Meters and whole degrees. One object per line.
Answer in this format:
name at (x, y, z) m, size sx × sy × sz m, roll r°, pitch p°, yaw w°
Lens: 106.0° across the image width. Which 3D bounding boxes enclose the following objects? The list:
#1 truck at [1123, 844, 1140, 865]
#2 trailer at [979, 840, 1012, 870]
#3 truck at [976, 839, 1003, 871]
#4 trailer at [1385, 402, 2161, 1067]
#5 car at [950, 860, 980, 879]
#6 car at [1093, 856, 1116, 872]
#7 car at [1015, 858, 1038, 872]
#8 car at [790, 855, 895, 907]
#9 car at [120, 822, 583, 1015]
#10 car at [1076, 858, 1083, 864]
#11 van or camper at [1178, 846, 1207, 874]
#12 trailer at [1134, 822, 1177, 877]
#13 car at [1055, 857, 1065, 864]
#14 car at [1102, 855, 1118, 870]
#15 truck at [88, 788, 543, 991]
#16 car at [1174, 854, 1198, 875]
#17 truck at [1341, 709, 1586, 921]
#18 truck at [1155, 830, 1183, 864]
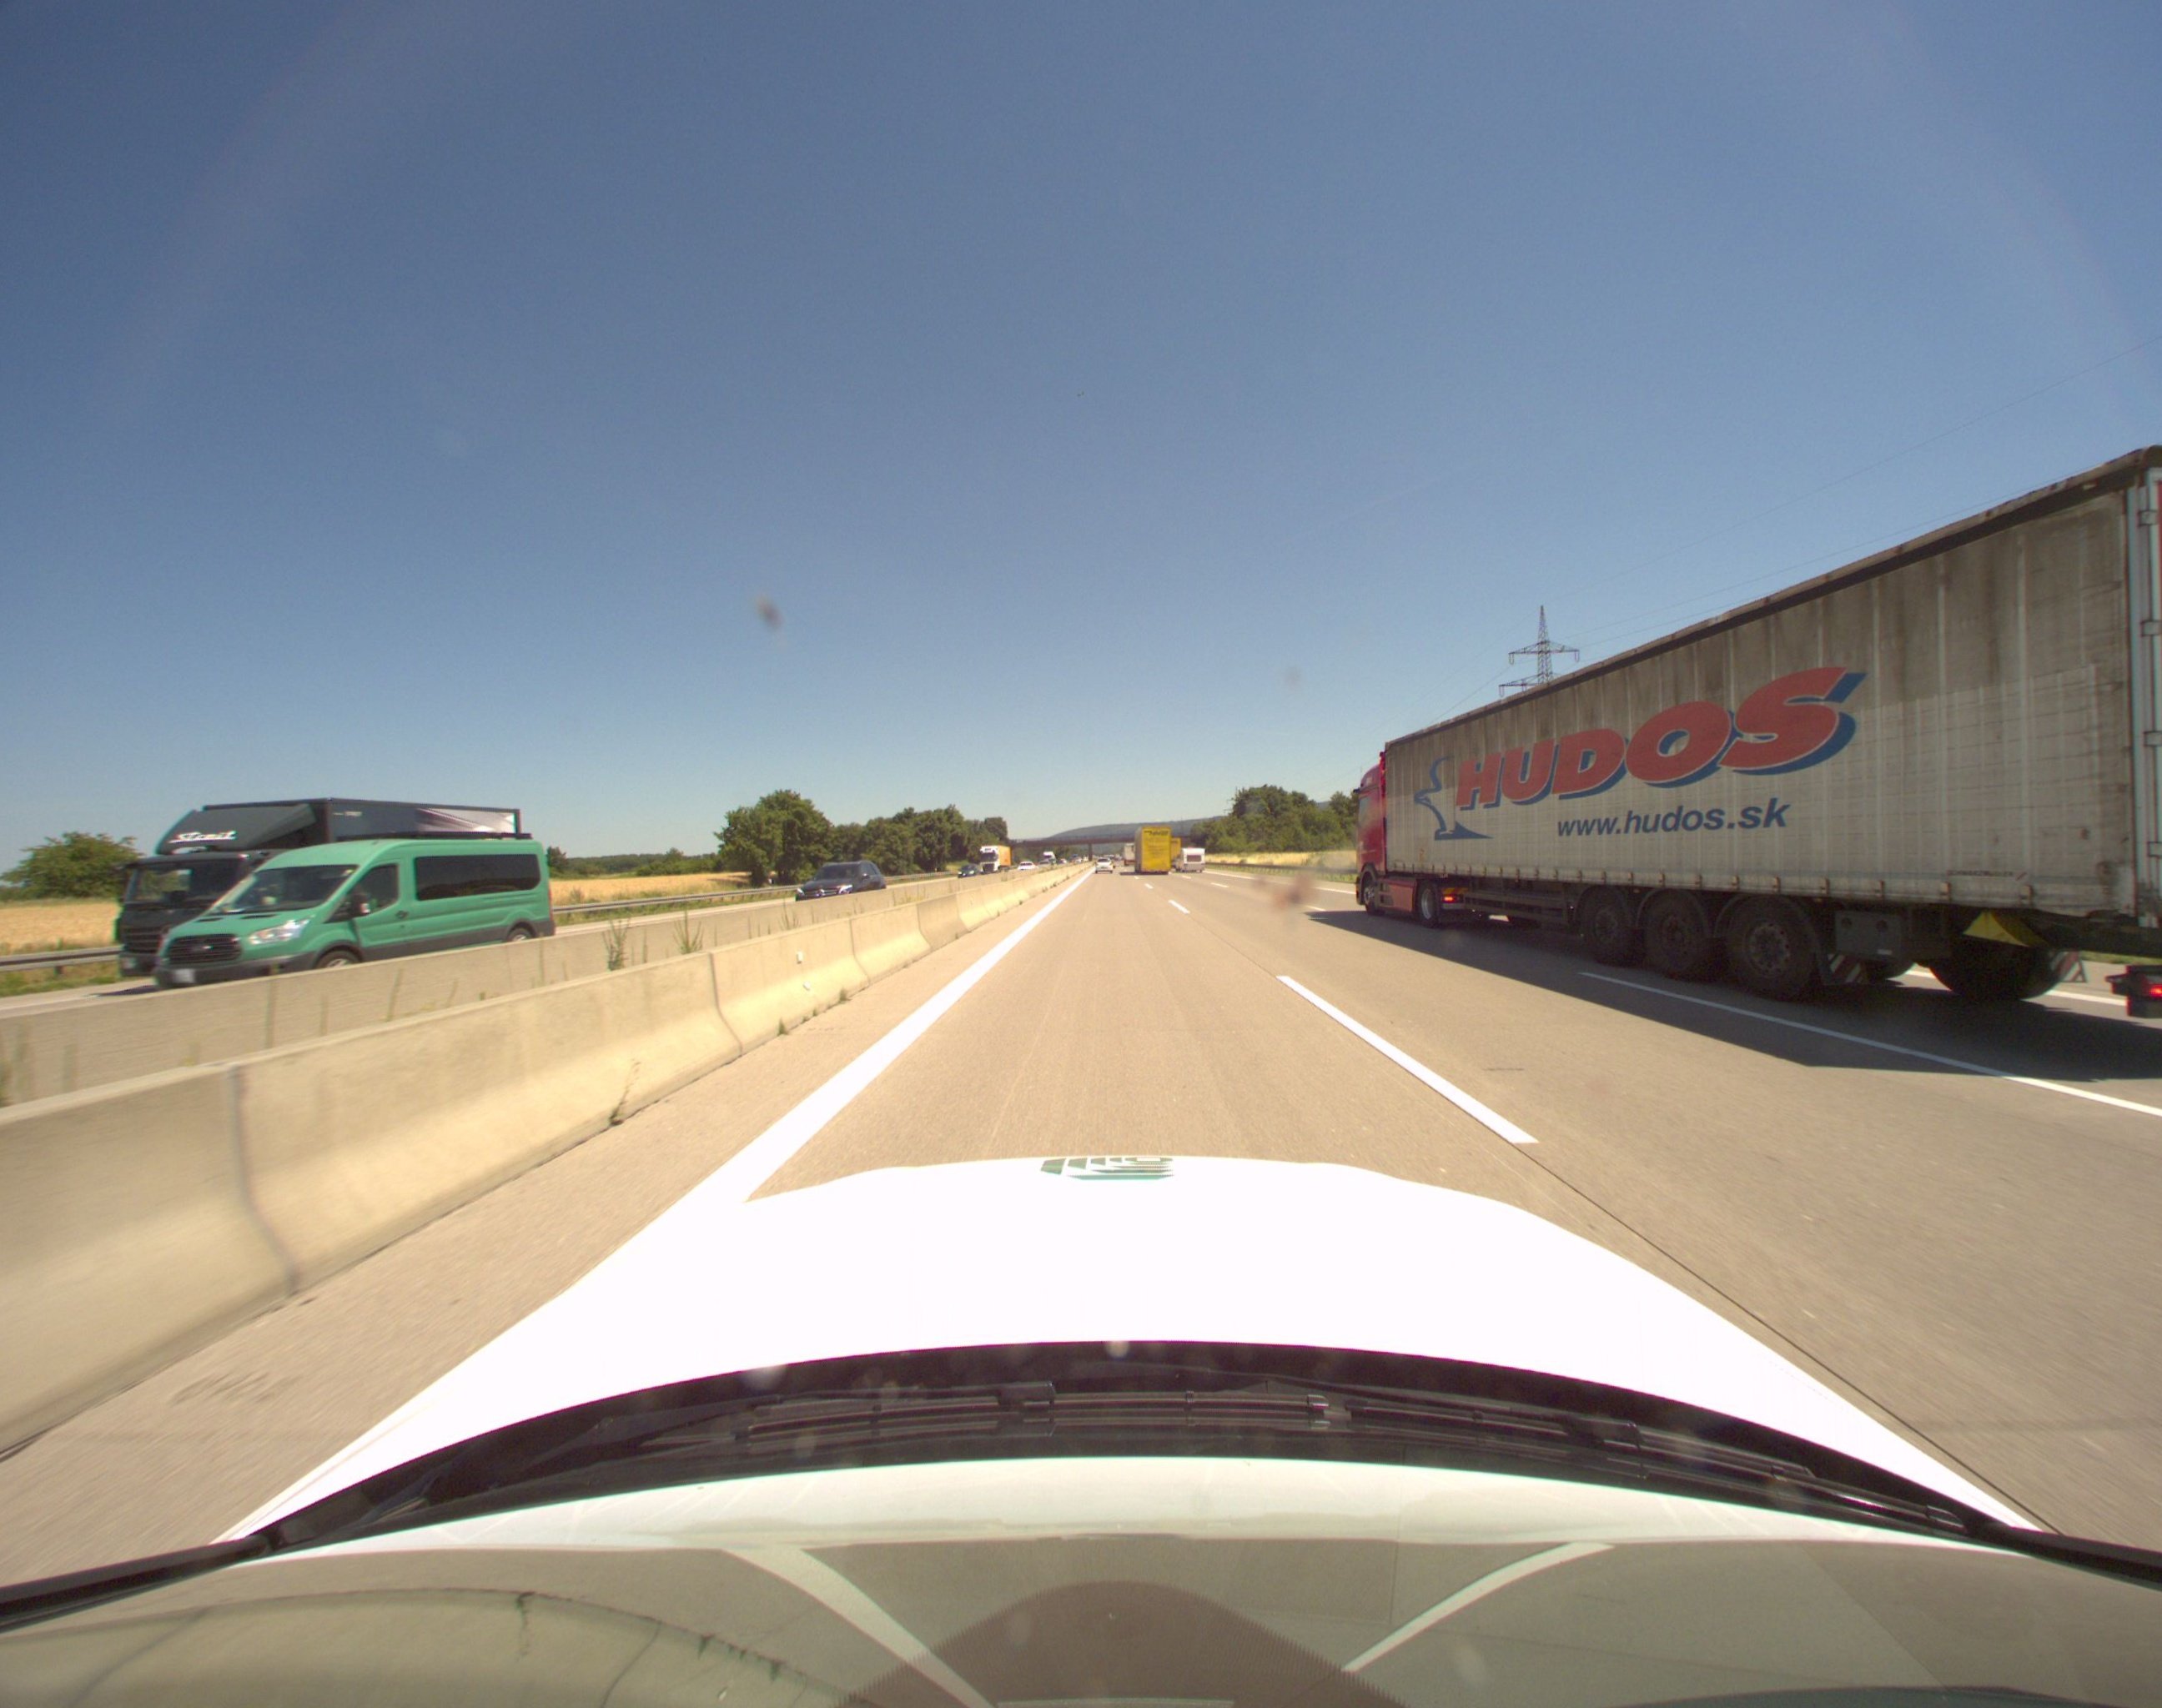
truck at (8.786, 0.077, 143.240) m, size 2.809 × 3.761 × 6.286 m, roll 0°, pitch 0°, yaw 2°
trailer at (-12.668, 0.151, 122.320) m, size 2.862 × 4.198 × 14.146 m, roll -3°, pitch 0°, yaw 2°
truck at (-12.905, 0.144, 115.119) m, size 2.858 × 4.195 × 5.232 m, roll -3°, pitch 0°, yaw 2°
trailer at (8.169, -0.753, 11.757) m, size 2.863 × 4.100 × 13.517 m, roll 0°, pitch 0°, yaw 2°
car at (-10.927, 1.470, 76.964) m, size 1.986 × 1.560 × 4.514 m, roll -4°, pitch 0°, yaw 2°
car at (2.303, 0.963, 79.761) m, size 2.098 × 1.536 × 4.125 m, roll 0°, pitch 0°, yaw 3°
car at (-5.868, 1.190, 88.304) m, size 1.986 × 1.364 × 4.672 m, roll -4°, pitch 0°, yaw 2°
car at (-7.926, 0.851, 27.608) m, size 1.986 × 1.576 × 4.850 m, roll 0°, pitch 0°, yaw 2°
car at (-12.013, 0.879, 14.430) m, size 2.141 × 2.551 × 6.466 m, roll -3°, pitch 0°, yaw 2°
car at (-0.350, 2.128, 251.794) m, size 1.986 × 1.735 × 5.116 m, roll -3°, pitch 0°, yaw 1°
van or camper at (10.731, 0.564, 78.731) m, size 2.216 × 2.531 × 5.433 m, roll 0°, pitch 0°, yaw 2°
trailer at (6.628, -0.419, 74.630) m, size 3.203 × 4.563 × 13.464 m, roll 0°, pitch 0°, yaw 2°
car at (-3.804, 1.222, 149.158) m, size 1.684 × 1.331 × 4.001 m, roll 0°, pitch 0°, yaw 2°
car at (4.262, 1.205, 118.289) m, size 2.245 × 2.013 × 4.300 m, roll 0°, pitch 0°, yaw 3°
truck at (-16.251, 0.628, 18.453) m, size 2.545 × 3.512 × 7.887 m, roll -3°, pitch 0°, yaw 2°
car at (10.742, 1.049, 83.489) m, size 1.986 × 2.013 × 4.001 m, roll 0°, pitch 0°, yaw 2°
truck at (8.428, -0.761, 18.950) m, size 2.895 × 4.100 × 6.274 m, roll 0°, pitch 0°, yaw 1°
truck at (11.671, -0.932, 108.617) m, size 2.987 × 4.314 × 9.688 m, roll 0°, pitch 0°, yaw 2°
